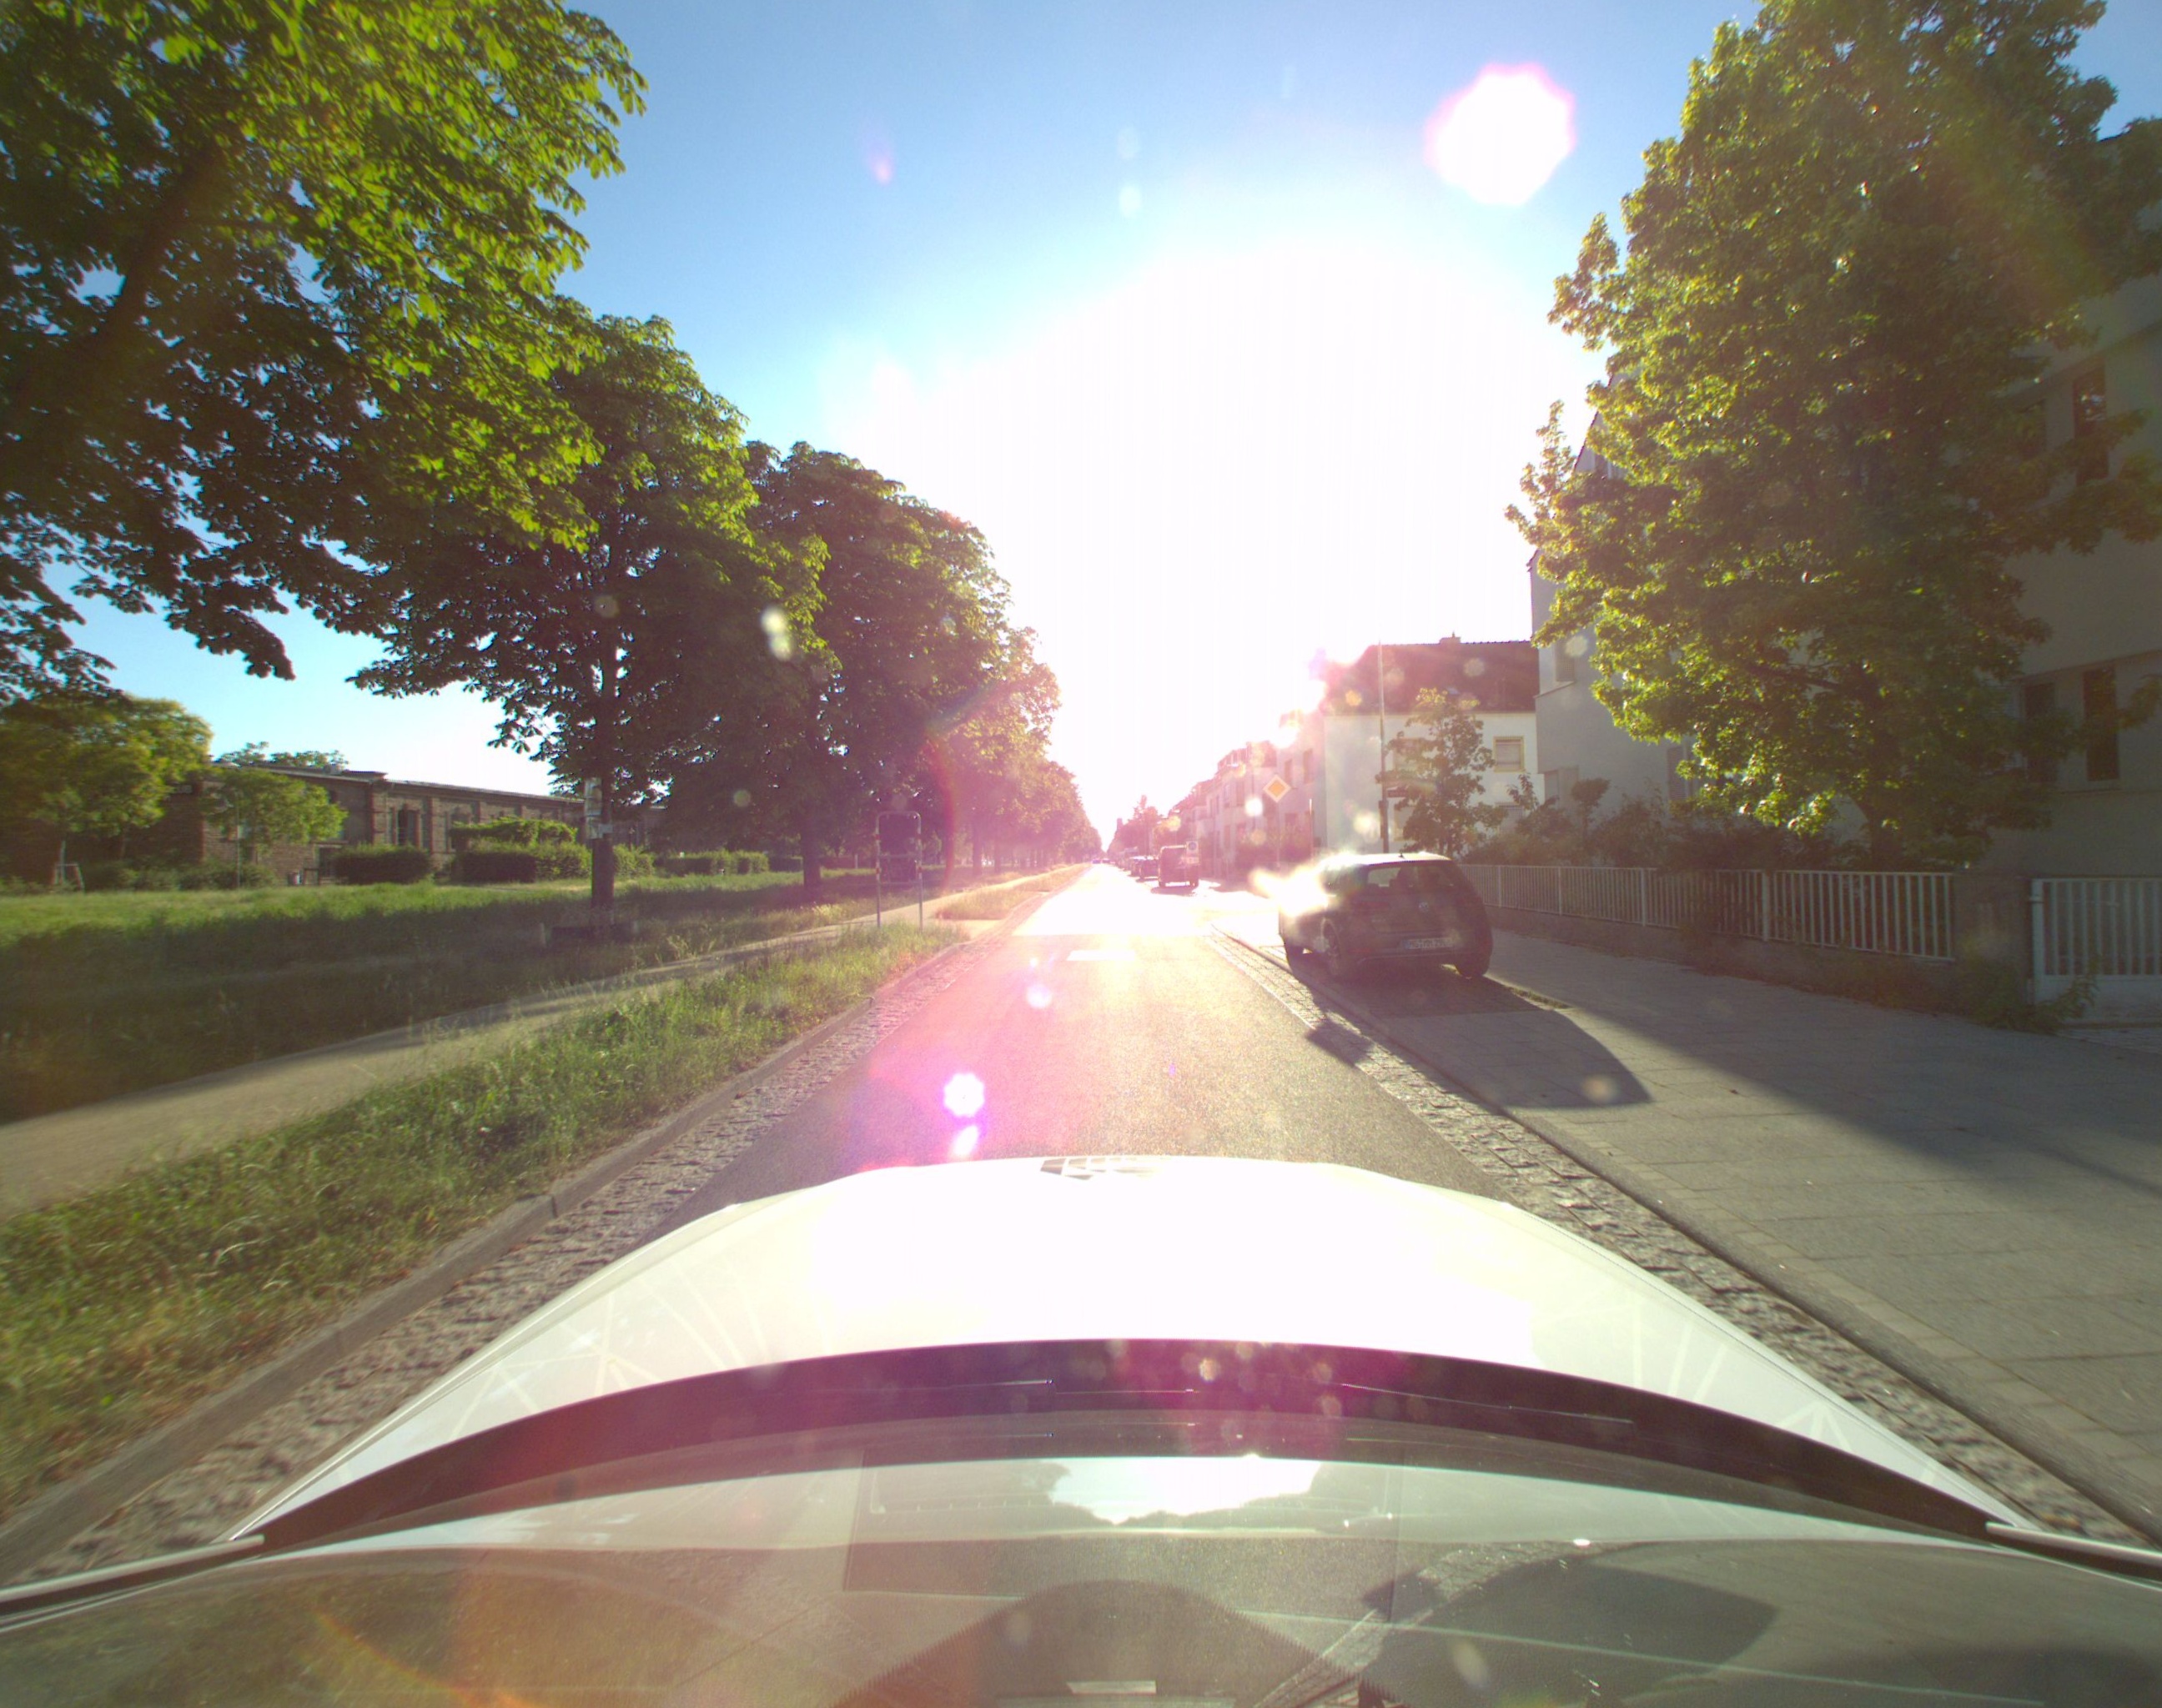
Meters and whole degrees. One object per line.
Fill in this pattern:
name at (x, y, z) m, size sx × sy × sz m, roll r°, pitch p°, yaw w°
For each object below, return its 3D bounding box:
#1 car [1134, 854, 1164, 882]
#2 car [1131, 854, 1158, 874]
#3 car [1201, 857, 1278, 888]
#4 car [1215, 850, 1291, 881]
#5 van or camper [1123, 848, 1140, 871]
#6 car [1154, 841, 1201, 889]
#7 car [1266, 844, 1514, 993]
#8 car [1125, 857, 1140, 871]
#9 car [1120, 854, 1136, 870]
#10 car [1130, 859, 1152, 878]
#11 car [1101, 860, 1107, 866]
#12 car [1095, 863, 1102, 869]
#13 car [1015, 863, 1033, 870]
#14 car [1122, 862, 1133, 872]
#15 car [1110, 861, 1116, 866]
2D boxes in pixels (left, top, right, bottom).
car at (4.760, 0.957, 57.188) m, size 1.787 × 1.771 × 4.474 m, roll -3°, pitch -1°, yaw 1°
car at (5.345, 0.858, 68.949) m, size 1.713 × 1.574 × 4.207 m, roll -3°, pitch -1°, yaw -2°
car at (9.443, 1.090, 48.608) m, size 4.206 × 1.726 × 1.852 m, roll -1°, pitch -1°, yaw -2°
car at (10.582, 0.718, 50.315) m, size 4.206 × 1.726 × 1.852 m, roll -1°, pitch -1°, yaw -2°
van or camper at (6.319, 0.706, 102.306) m, size 1.936 × 2.778 × 5.941 m, roll 0°, pitch -1°, yaw 2°
car at (4.773, 0.540, 40.691) m, size 1.898 × 2.132 × 4.817 m, roll -3°, pitch -1°, yaw 3°
car at (3.746, 0.666, 10.696) m, size 1.787 × 1.482 × 4.126 m, roll -3°, pitch 0°, yaw 3°
car at (6.011, 1.176, 95.846) m, size 1.657 × 1.593 × 4.087 m, roll 0°, pitch -1°, yaw 2°
car at (7.624, 1.360, 132.714) m, size 2.120 × 2.533 × 5.187 m, roll -2°, pitch -1°, yaw 0°
car at (5.496, 1.282, 74.826) m, size 1.825 × 1.685 × 4.417 m, roll 1°, pitch 0°, yaw 2°
car at (6.662, 2.651, 238.281) m, size 1.856 × 1.597 × 3.894 m, roll 0°, pitch 0°, yaw 1°
car at (5.017, 3.454, 234.104) m, size 1.856 × 1.597 × 3.870 m, roll 0°, pitch -1°, yaw 1°
car at (-14.336, 3.183, 205.630) m, size 4.342 × 1.764 × 1.995 m, roll 1°, pitch -1°, yaw -7°
car at (7.215, 1.976, 126.355) m, size 1.643 × 1.530 × 3.853 m, roll -2°, pitch -1°, yaw 3°
car at (8.629, 2.547, 220.236) m, size 1.643 × 1.530 × 3.853 m, roll 1°, pitch -1°, yaw 3°
